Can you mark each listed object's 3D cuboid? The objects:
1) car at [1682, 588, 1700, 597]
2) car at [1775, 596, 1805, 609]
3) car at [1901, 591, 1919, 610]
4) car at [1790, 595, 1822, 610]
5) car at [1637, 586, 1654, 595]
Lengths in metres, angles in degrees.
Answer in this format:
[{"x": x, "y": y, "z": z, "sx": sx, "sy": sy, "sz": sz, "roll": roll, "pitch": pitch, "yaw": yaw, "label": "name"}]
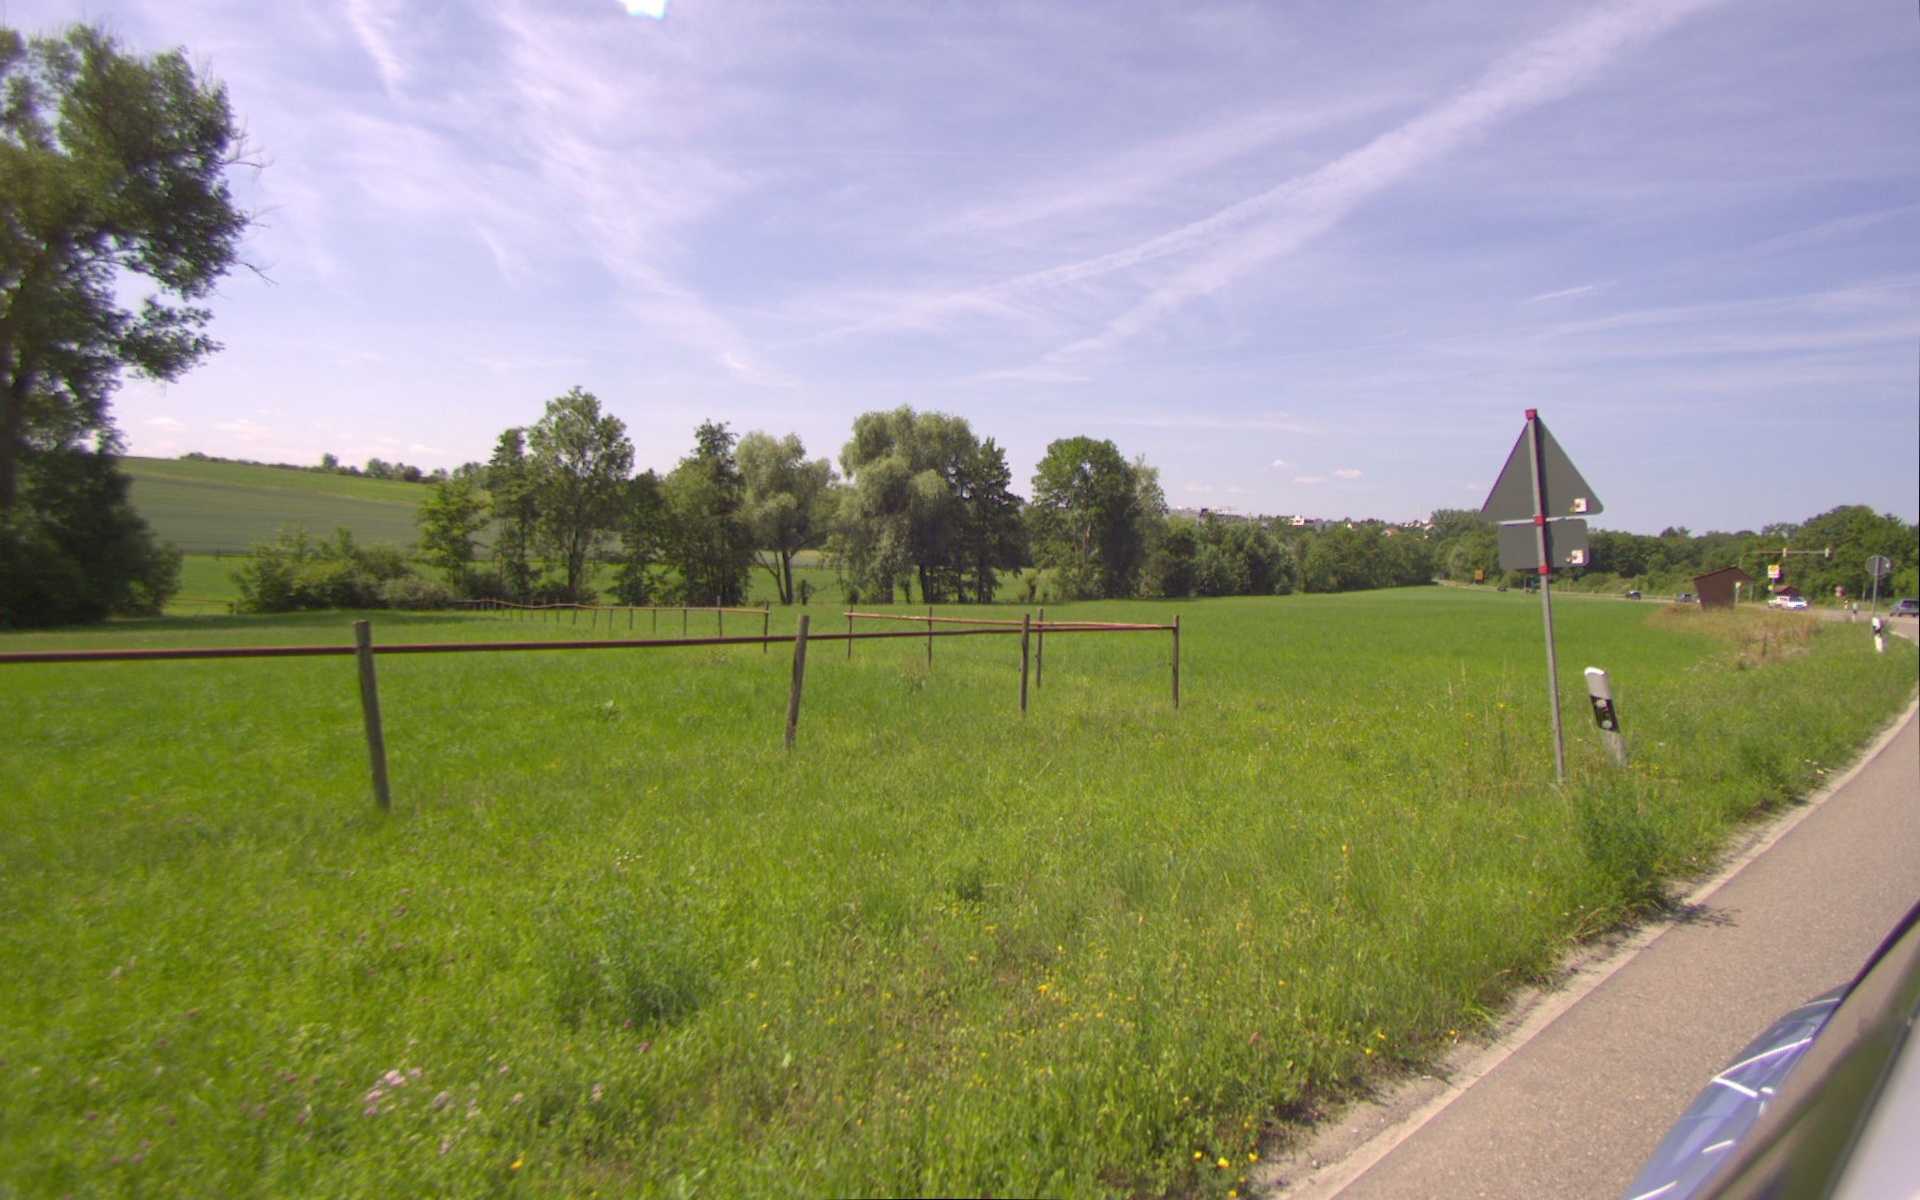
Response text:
[{"x": 123.233, "y": -1.184, "z": 170.624, "sx": 1.694, "sy": 1.501, "sz": 3.800, "roll": 0, "pitch": 0, "yaw": 25, "label": "car"}, {"x": 105.321, "y": 0.256, "z": 128.440, "sx": 1.925, "sy": 1.568, "sz": 4.584, "roll": 0, "pitch": 0, "yaw": 27, "label": "car"}, {"x": 81.932, "y": 0.056, "z": 86.423, "sx": 1.749, "sy": 1.554, "sz": 4.175, "roll": 0, "pitch": 0, "yaw": 35, "label": "car"}, {"x": 92.945, "y": 0.272, "z": 111.266, "sx": 1.983, "sy": 1.605, "sz": 3.959, "roll": 0, "pitch": 0, "yaw": 29, "label": "car"}, {"x": 131.508, "y": -1.795, "z": 194.181, "sx": 1.959, "sy": 1.582, "sz": 4.154, "roll": 0, "pitch": 0, "yaw": 25, "label": "car"}]
